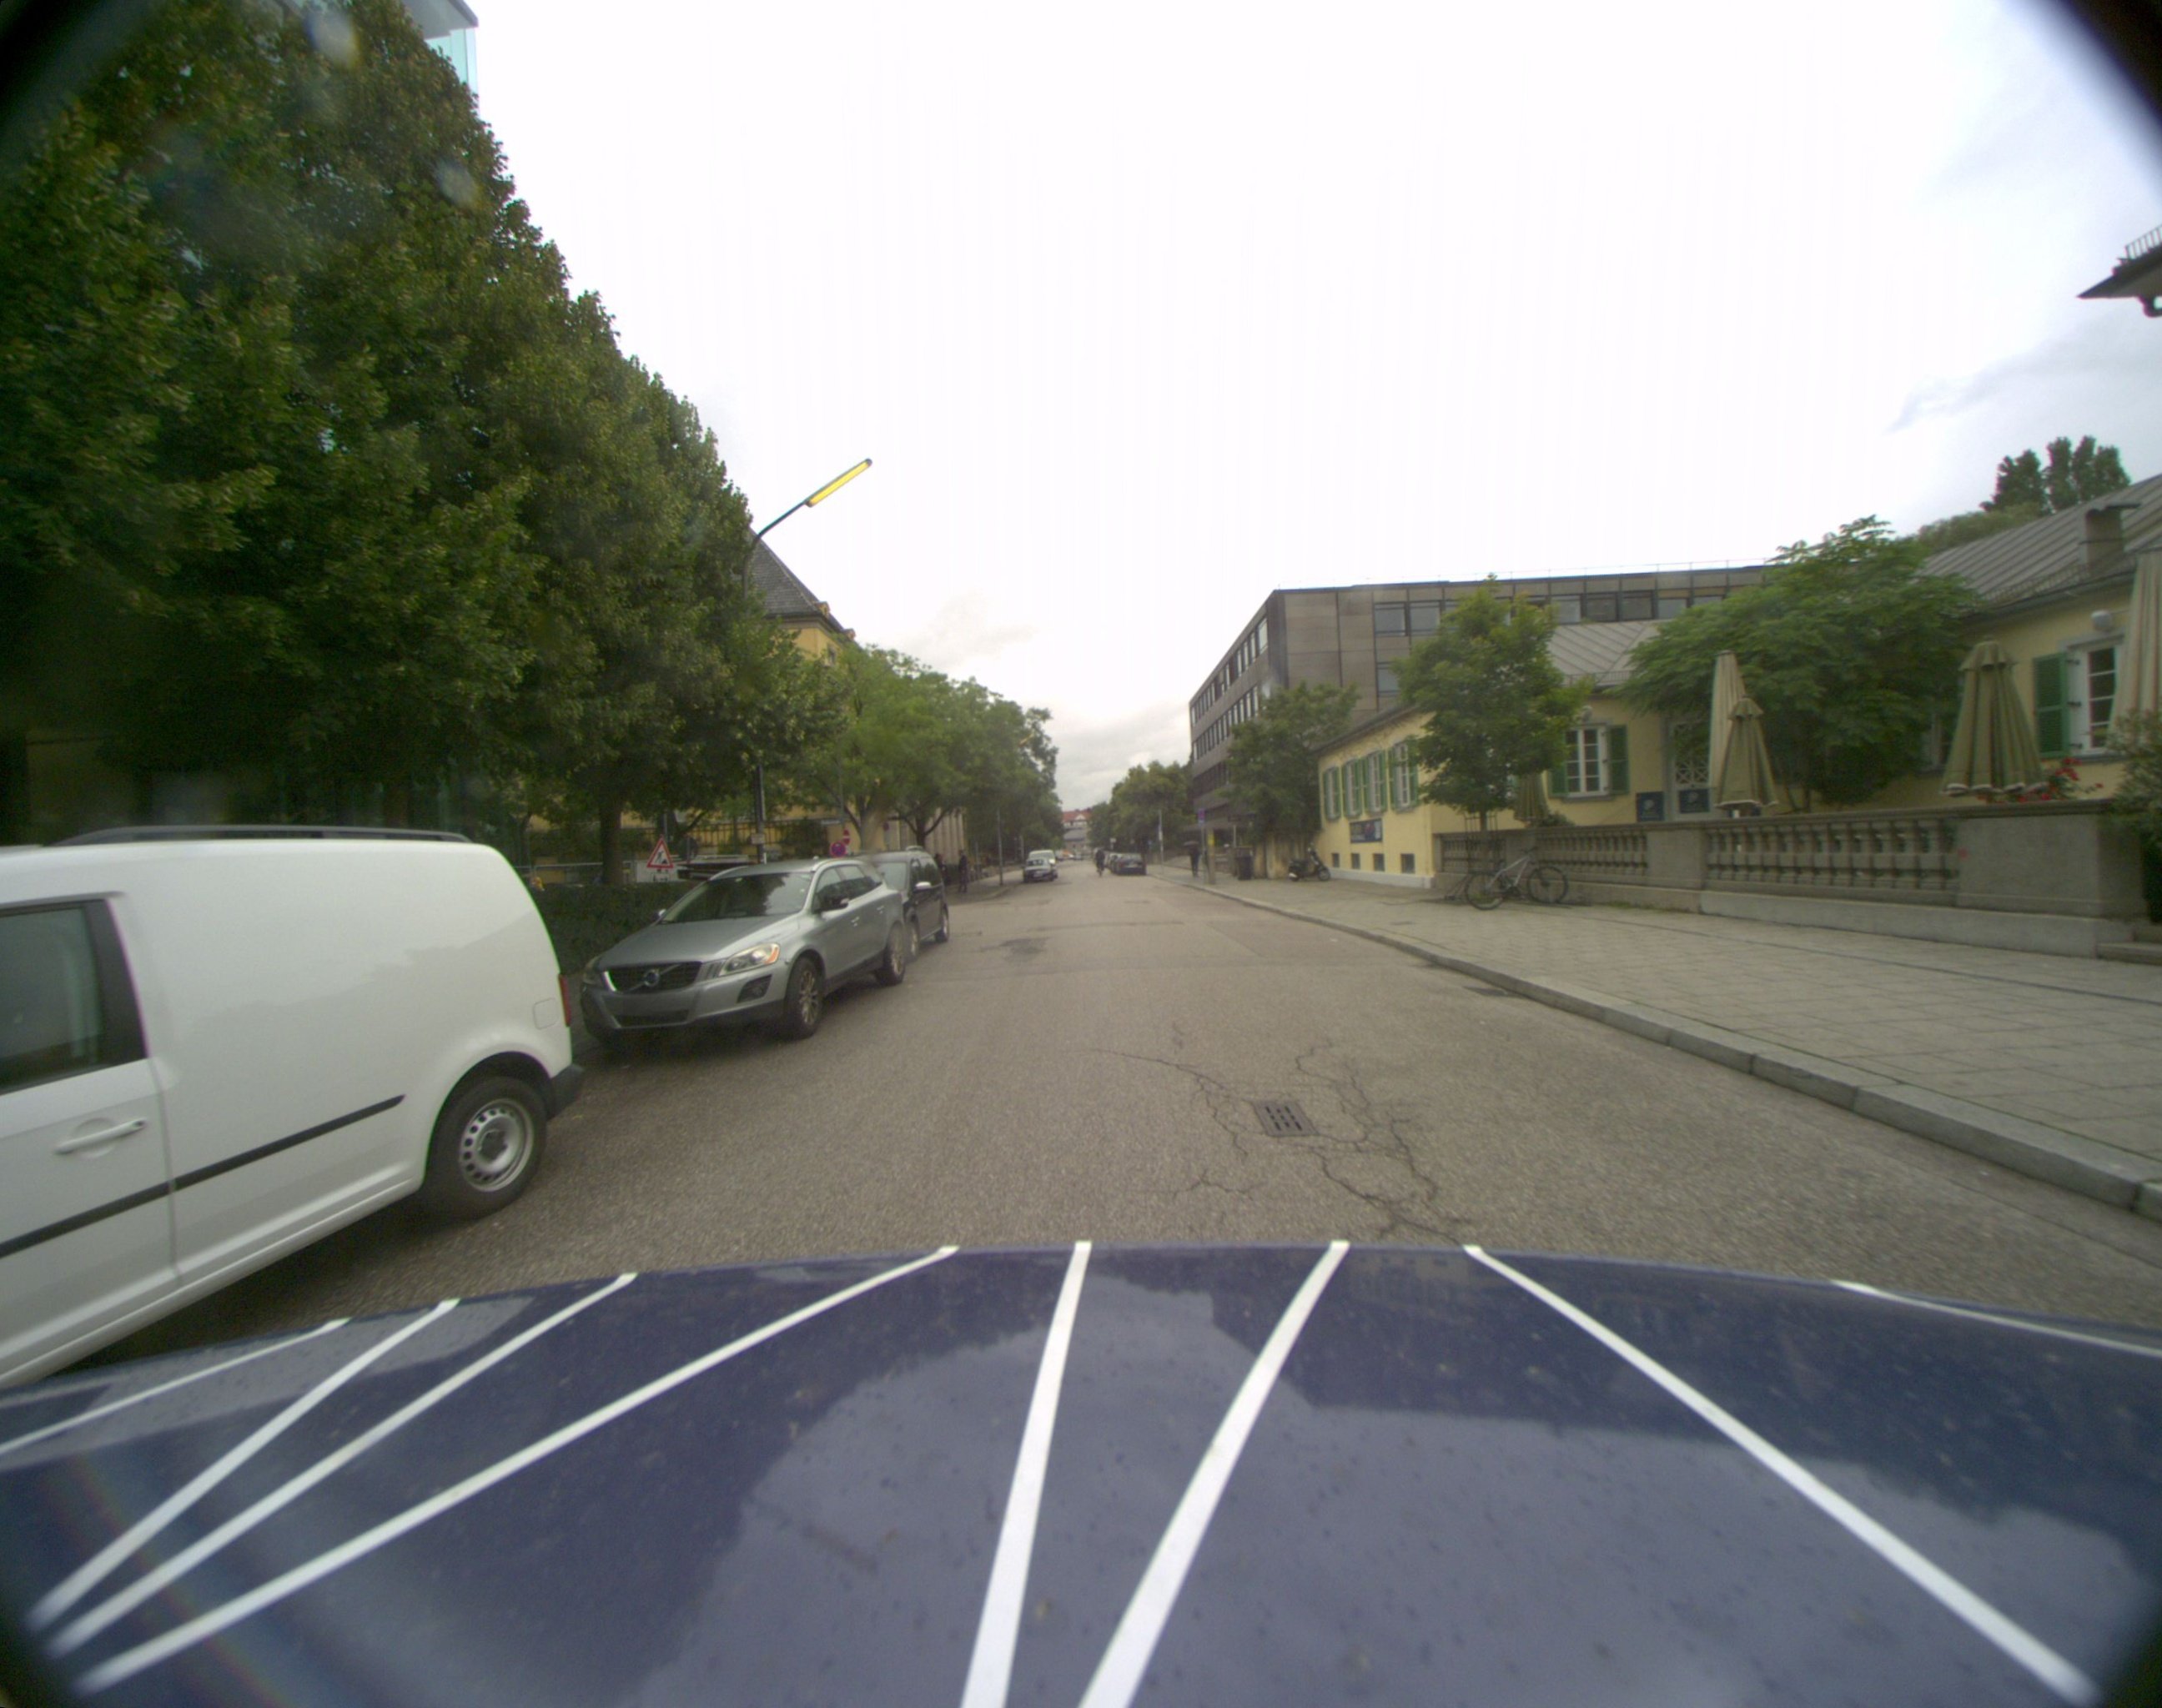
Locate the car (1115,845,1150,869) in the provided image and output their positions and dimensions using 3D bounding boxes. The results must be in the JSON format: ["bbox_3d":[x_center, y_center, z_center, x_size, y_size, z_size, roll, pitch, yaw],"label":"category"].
[{"bbox_3d":[3.329,0.180,49.848,1.929,1.391,4.486,-3,1,-1],"label":"car"}]

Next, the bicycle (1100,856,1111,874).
[{"bbox_3d":[1.509,0.662,47.250,0.607,1.014,2.308,-1,1,0],"label":"bicycle"}]

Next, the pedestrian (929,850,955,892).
[{"bbox_3d":[-6.097,0.765,33.278,0.691,1.775,0.893,-5,1,-35],"label":"pedestrian"}]

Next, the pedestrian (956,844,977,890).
[{"bbox_3d":[-5.125,0.565,33.867,0.690,2.002,0.894,-5,1,-15],"label":"pedestrian"}]

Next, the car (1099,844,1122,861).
[{"bbox_3d":[2.835,-0.169,74.579,1.999,1.555,3.999,-2,1,-1],"label":"car"}]

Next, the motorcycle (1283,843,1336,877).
[{"bbox_3d":[8.243,0.225,27.426,1.664,1.106,0.591,-5,2,44],"label":"motorcycle"}]

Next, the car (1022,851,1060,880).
[{"bbox_3d":[-2.350,0.674,45.697,1.958,1.494,4.486,-4,1,-1],"label":"car"}]

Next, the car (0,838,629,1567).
[{"bbox_3d":[-3.736,0.962,2.172,1.788,1.885,4.574,-4,1,4],"label":"car"}]

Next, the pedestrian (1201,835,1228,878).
[{"bbox_3d":[6.503,0.125,37.066,0.977,2.002,0.914,-4,1,-1],"label":"pedestrian"}]

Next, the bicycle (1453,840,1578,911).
[{"bbox_3d":[7.778,0.383,13.640,1.847,1.028,0.466,-8,1,3],"label":"bicycle"}]

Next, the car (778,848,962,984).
[{"bbox_3d":[-3.330,0.864,12.951,1.814,1.798,4.347,-4,1,0],"label":"car"}]

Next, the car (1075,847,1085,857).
[{"bbox_3d":[-0.189,-0.518,171.797,1.999,2.002,3.999,-4,1,-1],"label":"car"}]

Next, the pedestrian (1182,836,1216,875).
[{"bbox_3d":[6.371,0.072,41.128,1.479,2.002,1.500,-4,1,-1],"label":"pedestrian"}]

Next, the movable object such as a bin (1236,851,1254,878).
[{"bbox_3d":[6.999,0.441,32.401,0.615,1.102,0.460,-4,1,-1],"label":"movable object such as a bin"}]

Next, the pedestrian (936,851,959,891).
[{"bbox_3d":[-6.077,0.753,34.504,0.700,1.749,0.684,-5,1,-29],"label":"pedestrian"}]

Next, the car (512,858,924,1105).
[{"bbox_3d":[-3.268,0.991,8.195,1.872,1.682,4.784,-4,1,2],"label":"car"}]

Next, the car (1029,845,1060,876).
[{"bbox_3d":[-2.456,0.389,51.764,1.830,1.885,4.486,-4,1,-1],"label":"car"}]

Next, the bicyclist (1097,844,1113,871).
[{"bbox_3d":[1.459,0.217,47.051,0.903,1.602,1.067,-1,1,-1],"label":"bicyclist"}]
